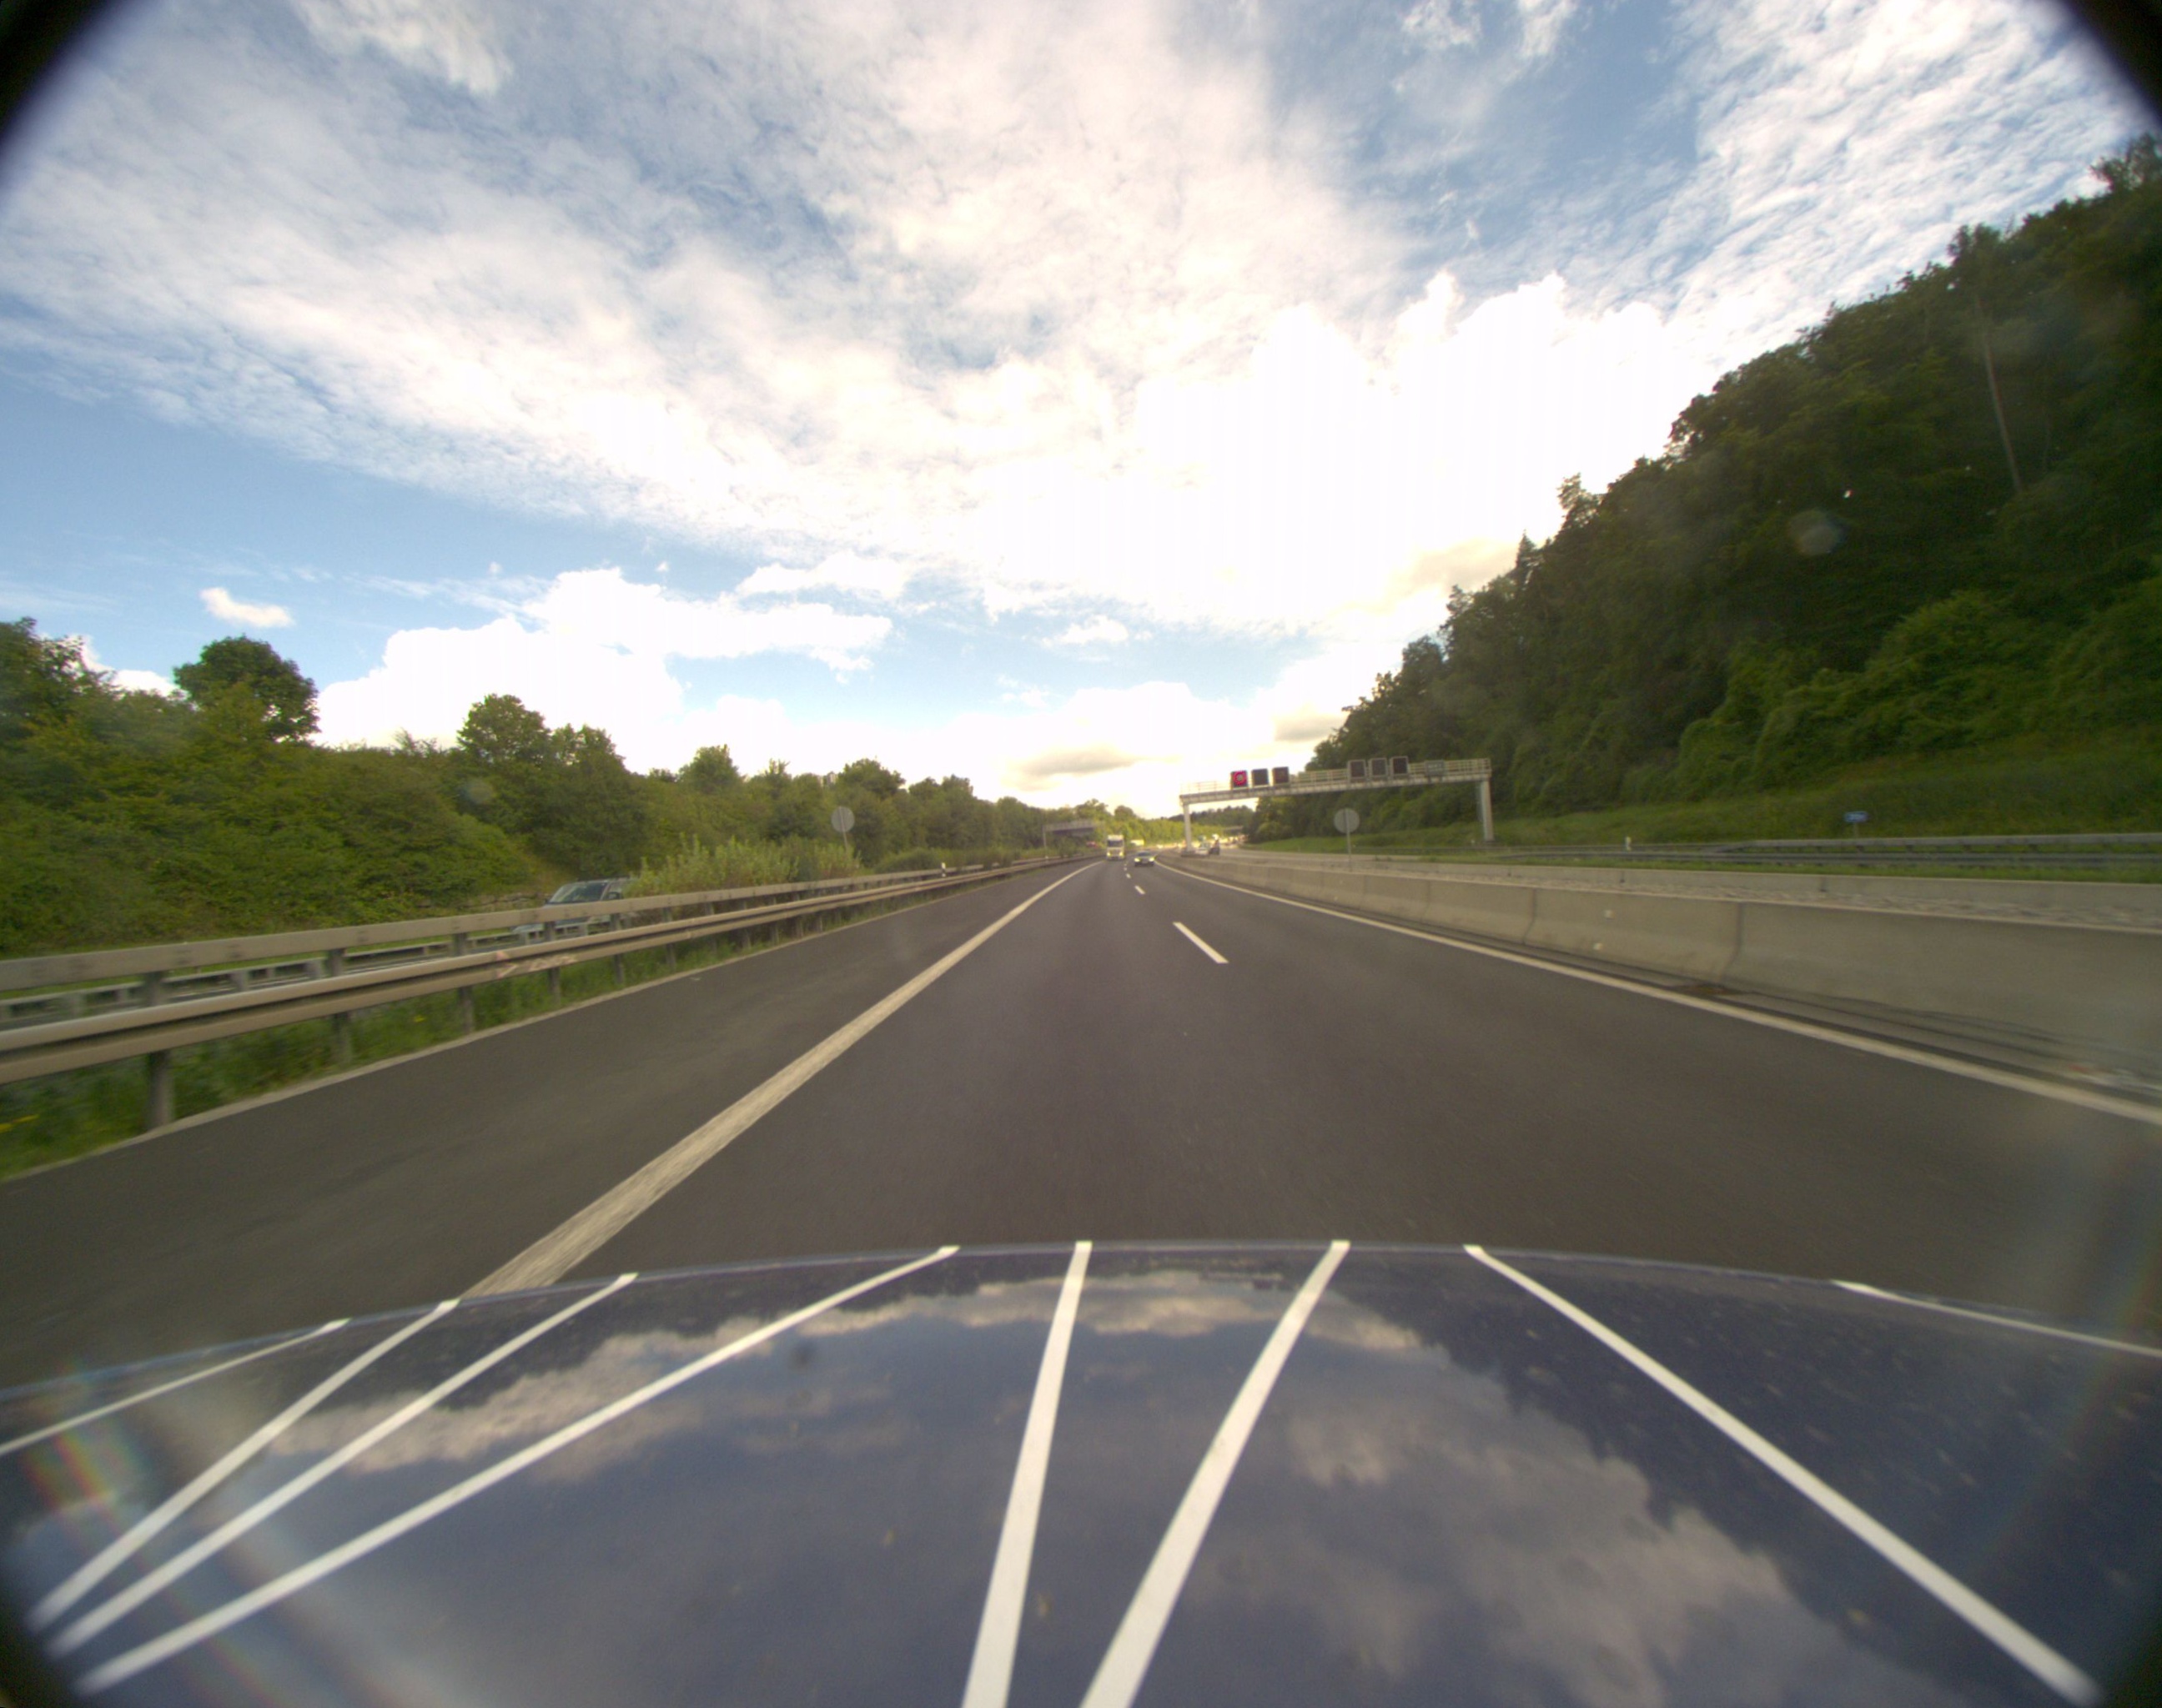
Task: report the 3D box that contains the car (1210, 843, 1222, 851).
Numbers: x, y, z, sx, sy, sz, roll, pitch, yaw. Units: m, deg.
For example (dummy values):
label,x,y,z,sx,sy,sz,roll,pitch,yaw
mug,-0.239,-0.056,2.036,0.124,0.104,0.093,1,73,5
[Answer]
label,x,y,z,sx,sy,sz,roll,pitch,yaw
car,23.709,-1.211,133.799,1.669,1.387,4.602,-2,1,5

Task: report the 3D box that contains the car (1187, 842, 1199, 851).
label,x,y,z,sx,sy,sz,roll,pitch,yaw
car,22.426,-1.516,152.287,1.998,1.631,4.001,-2,1,5

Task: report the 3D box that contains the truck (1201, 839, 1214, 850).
label,x,y,z,sx,sy,sz,roll,pitch,yaw
truck,26.653,-2.064,160.131,2.188,2.213,5.572,-2,1,5

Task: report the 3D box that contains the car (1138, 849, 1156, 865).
label,x,y,z,sx,sy,sz,roll,pitch,yaw
car,6.484,0.292,75.089,1.662,1.464,4.000,-2,1,4

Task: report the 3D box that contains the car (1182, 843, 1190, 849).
label,x,y,z,sx,sy,sz,roll,pitch,yaw
car,23.887,-1.844,173.550,1.568,1.441,3.889,-2,1,5

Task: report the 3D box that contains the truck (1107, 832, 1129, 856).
label,x,y,z,sx,sy,sz,roll,pitch,yaw
truck,6.003,-1.655,122.839,2.795,3.563,11.460,-2,2,6

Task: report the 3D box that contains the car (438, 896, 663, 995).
label,x,y,z,sx,sy,sz,roll,pitch,yaw
car,-11.402,1.886,16.793,1.788,1.562,4.344,-3,0,1

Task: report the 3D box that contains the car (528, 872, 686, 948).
label,x,y,z,sx,sy,sz,roll,pitch,yaw
car,-15.348,1.719,25.016,1.998,2.002,4.908,-2,1,0

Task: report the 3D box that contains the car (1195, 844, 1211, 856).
label,x,y,z,sx,sy,sz,roll,pitch,yaw
car,17.472,-0.544,109.149,1.768,1.572,4.933,-3,1,4
